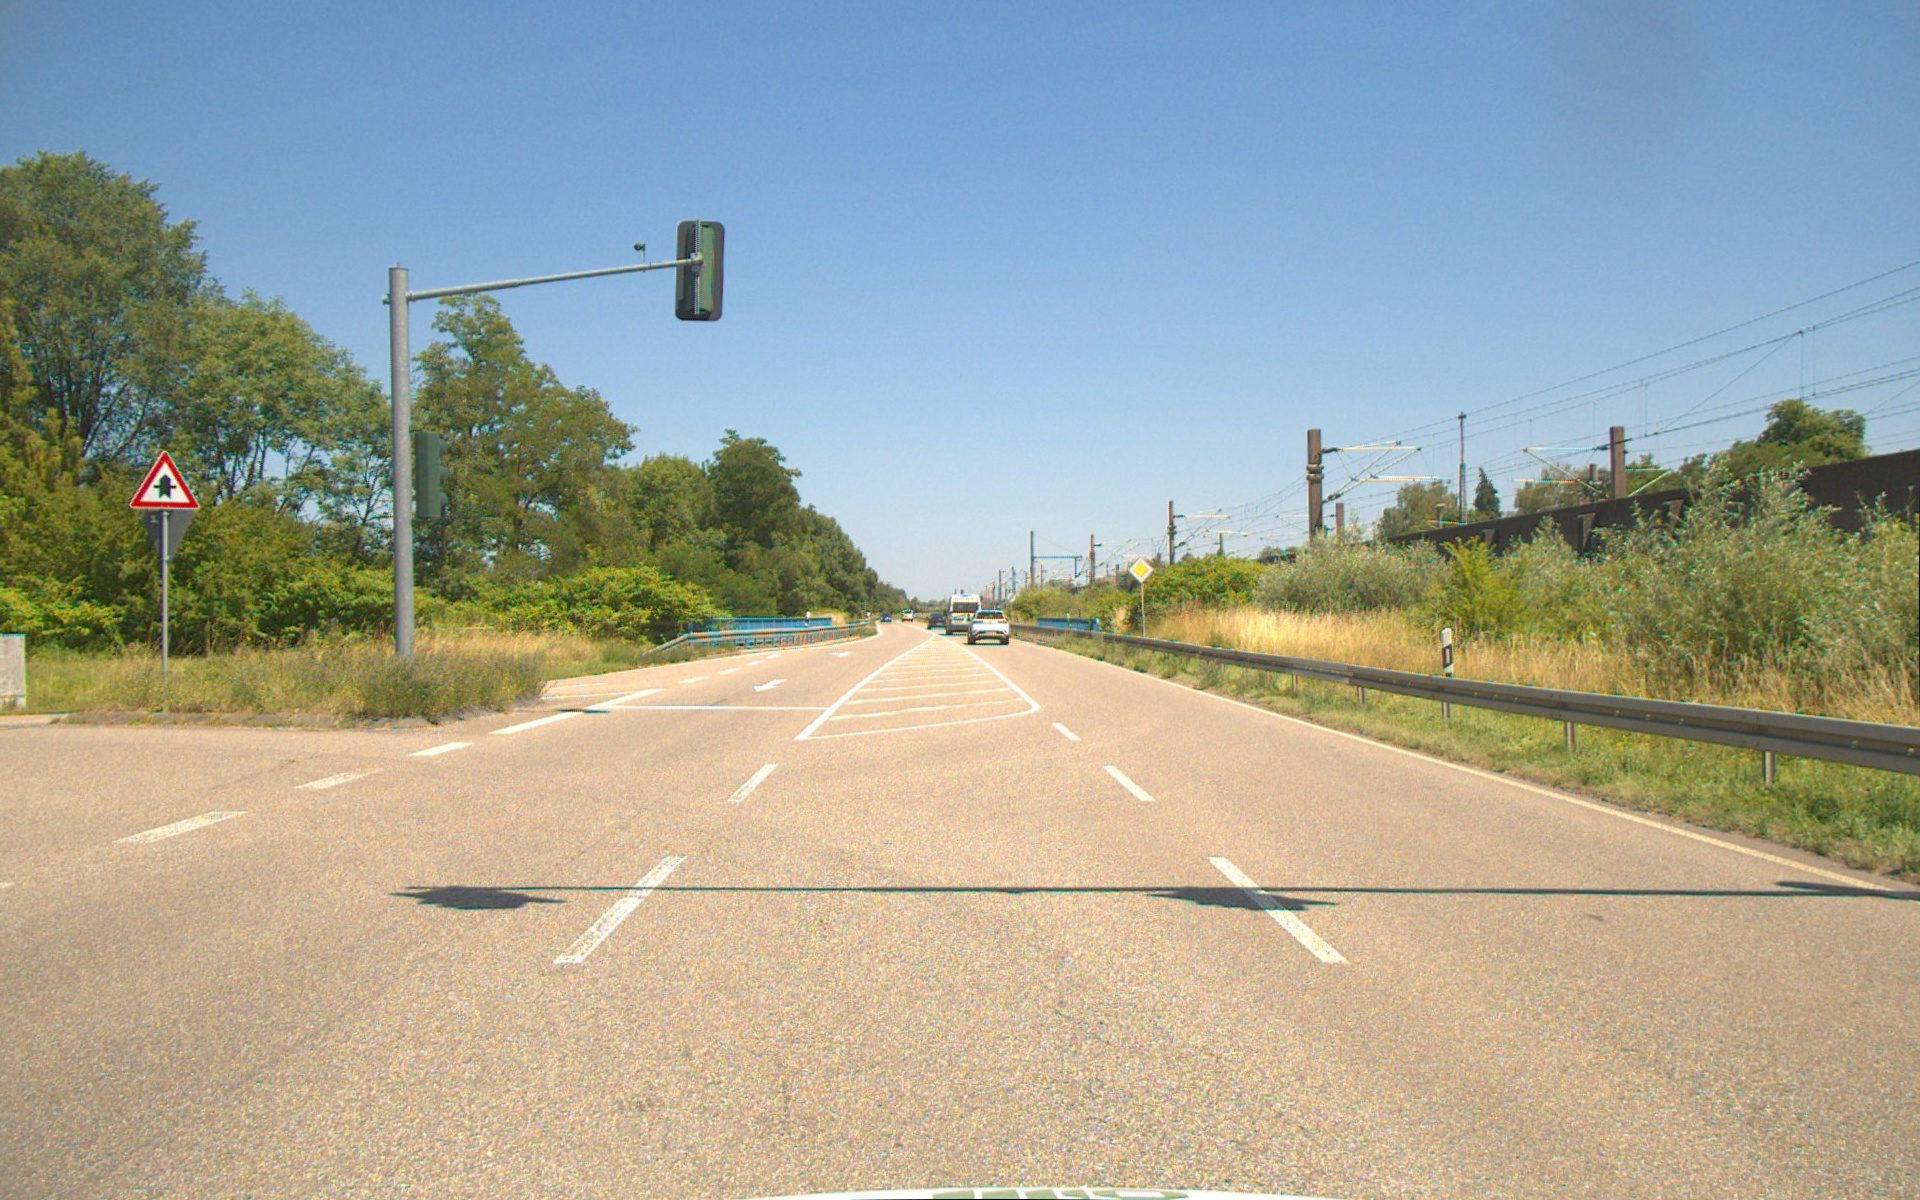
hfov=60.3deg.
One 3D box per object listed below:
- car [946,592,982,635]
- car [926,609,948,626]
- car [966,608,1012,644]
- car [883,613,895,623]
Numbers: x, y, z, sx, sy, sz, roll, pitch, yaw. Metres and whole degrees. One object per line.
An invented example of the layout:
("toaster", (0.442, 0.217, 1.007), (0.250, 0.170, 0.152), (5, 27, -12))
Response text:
("car", (0.239, 0.849, 105.711), (2.144, 2.649, 6.749), (1, 0, -1))
("car", (-2.006, 1.519, 143.577), (1.819, 1.404, 4.501), (1, 0, -2))
("car", (1.298, 1.162, 75.909), (1.781, 1.591, 4.275), (0, 0, -3))
("car", (-10.843, 2.737, 252.559), (1.819, 1.404, 4.501), (1, 0, -2))
